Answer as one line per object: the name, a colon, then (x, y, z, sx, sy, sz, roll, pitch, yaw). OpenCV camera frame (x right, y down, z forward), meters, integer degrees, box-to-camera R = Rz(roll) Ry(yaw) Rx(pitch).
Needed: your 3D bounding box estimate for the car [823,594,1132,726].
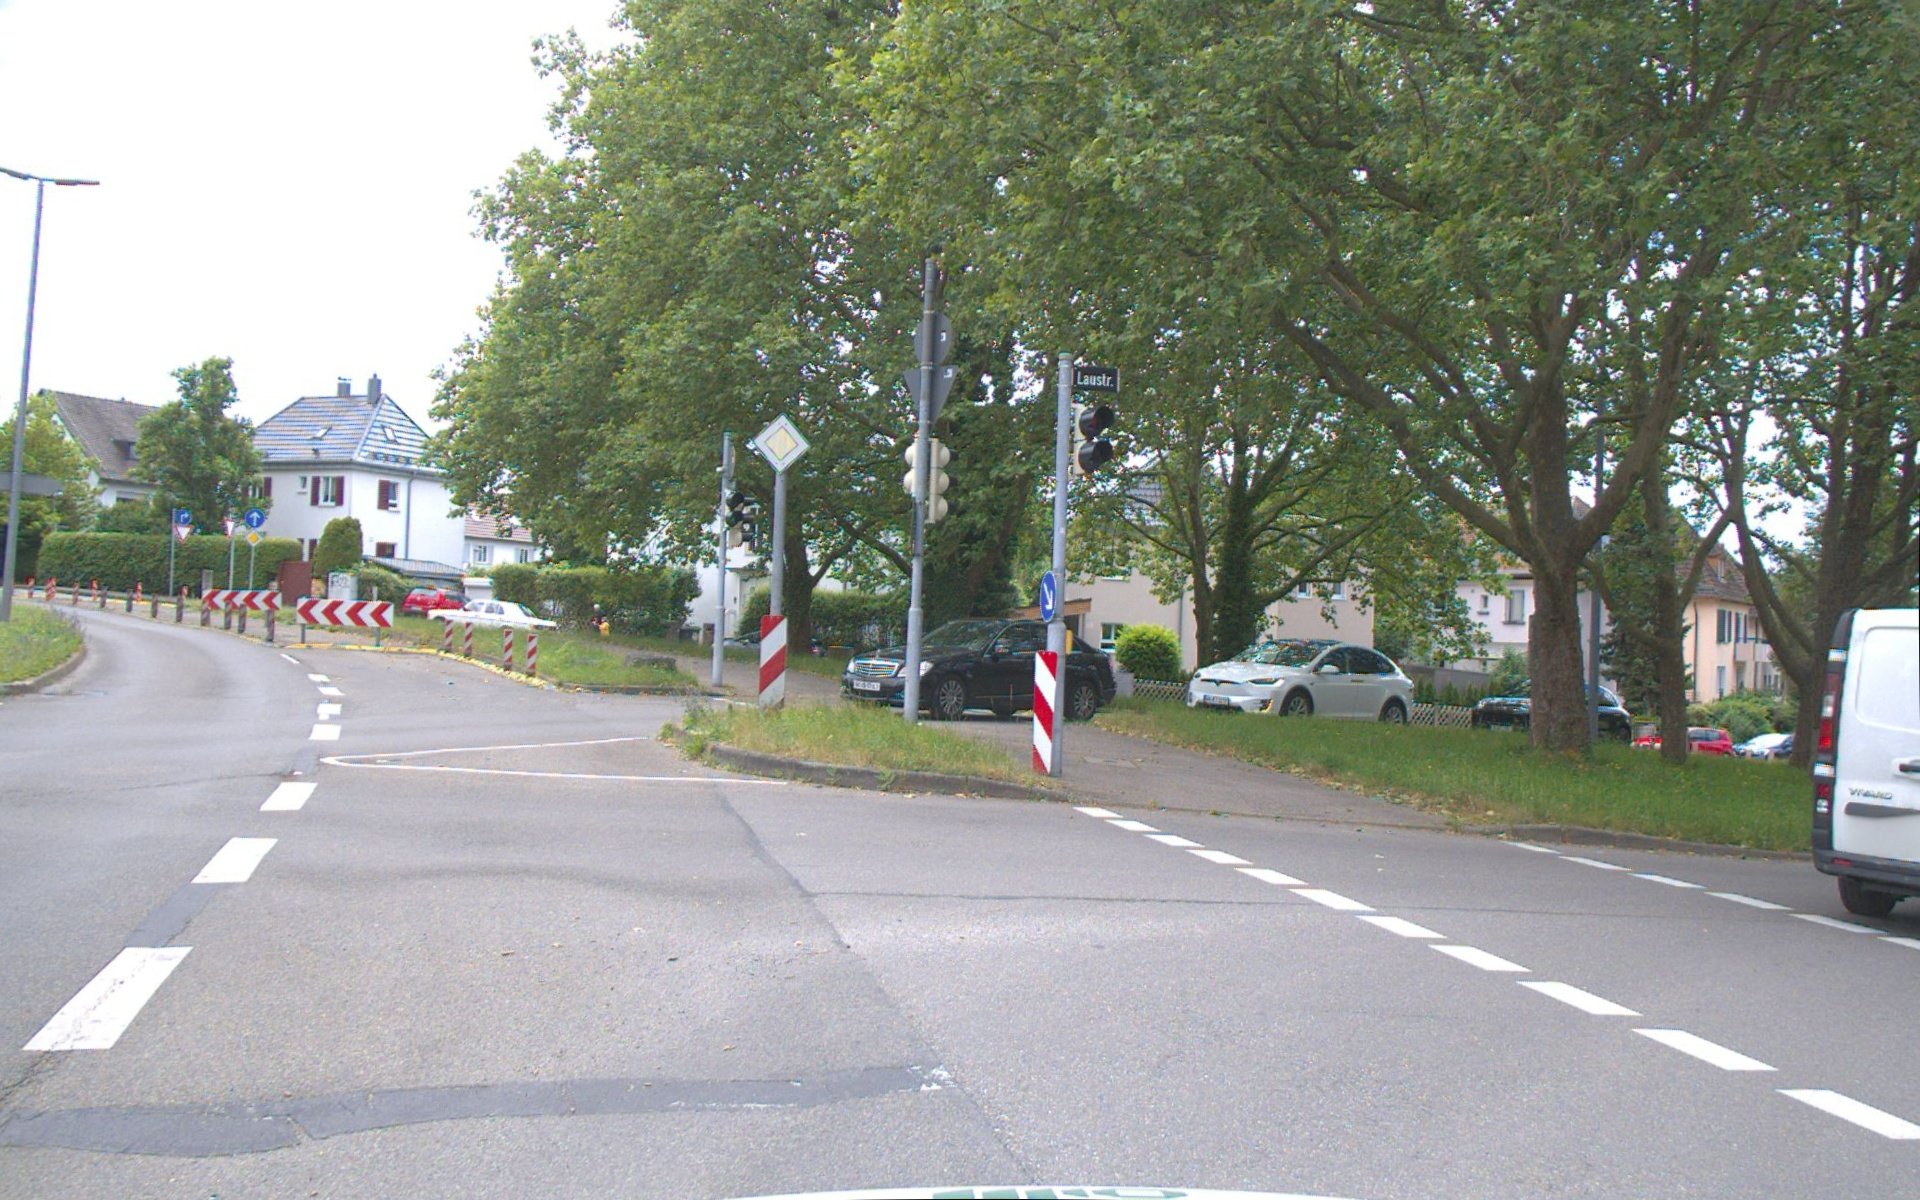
car: (0.335, 0.884, 23.392, 4.353, 1.544, 1.735, 6, -3, -44)

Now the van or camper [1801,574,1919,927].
van or camper: (7.604, 0.980, 11.035, 4.786, 2.049, 1.901, 3, 0, -42)

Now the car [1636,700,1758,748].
car: (27.542, 4.634, 61.800, 4.206, 1.499, 1.721, 5, -3, -23)

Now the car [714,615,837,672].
car: (-6.421, 1.504, 57.700, 3.902, 1.540, 1.662, 6, 0, 4)

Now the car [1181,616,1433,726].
car: (6.089, 1.220, 28.657, 4.868, 1.687, 1.828, 3, 0, -44)

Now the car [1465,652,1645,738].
car: (12.758, 2.010, 35.317, 4.577, 1.619, 1.735, 3, -1, -44)

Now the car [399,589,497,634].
car: (-20.553, 0.481, 66.563, 1.573, 1.544, 3.822, 3, -2, 24)

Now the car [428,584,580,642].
car: (-16.451, 0.476, 59.750, 4.764, 1.822, 2.218, 3, 0, 15)
